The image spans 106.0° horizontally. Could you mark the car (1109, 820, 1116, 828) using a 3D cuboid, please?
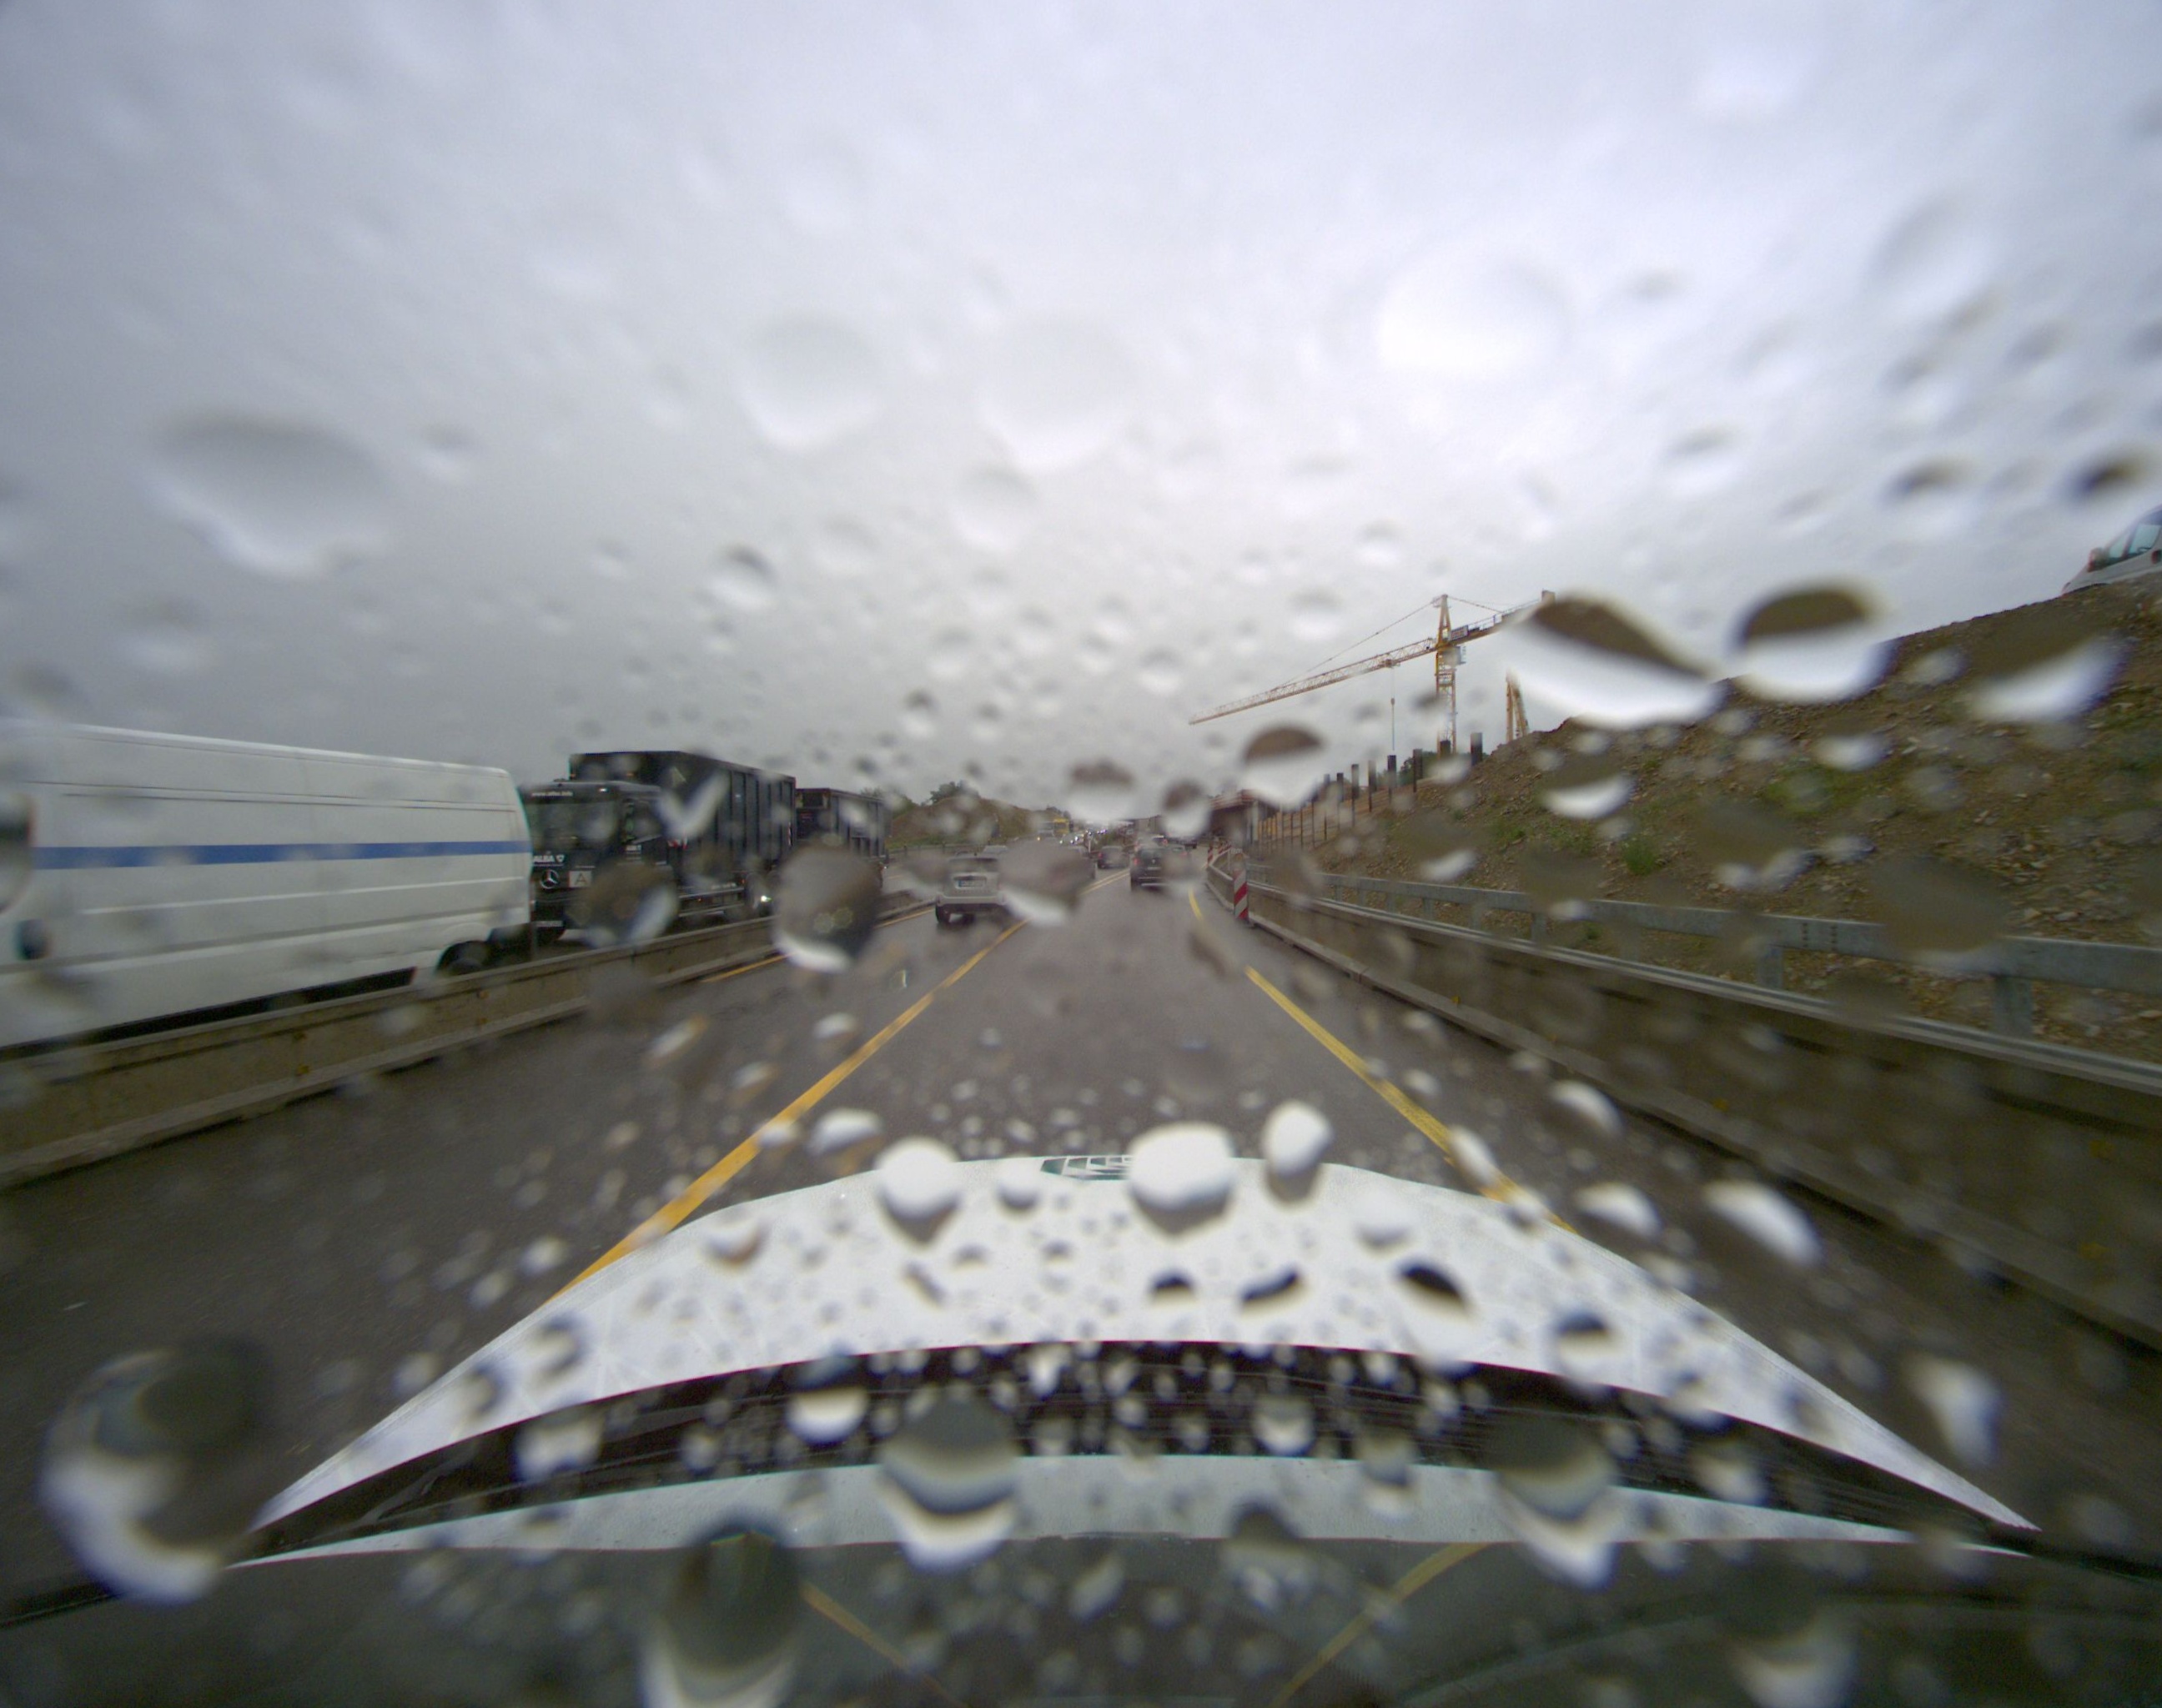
[{"bbox_3d":[9.316,-8.930,242.044,1.986,2.014,4.000,-1,-2,1],"label":"car"}]

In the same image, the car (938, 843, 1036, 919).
[{"bbox_3d":[-2.146,0.635,19.763,1.810,1.600,4.307,-1,-2,1],"label":"car"}]

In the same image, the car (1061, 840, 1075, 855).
[{"bbox_3d":[-1.730,-0.849,107.143,1.616,1.810,3.639,-1,-2,2],"label":"car"}]

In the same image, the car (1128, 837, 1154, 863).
[{"bbox_3d":[5.114,-0.300,70.213,1.987,2.014,3.893,-1,-2,1],"label":"car"}]

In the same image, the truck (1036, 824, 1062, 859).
[{"bbox_3d":[-4.650,-1.771,120.738,3.070,4.919,8.569,-1,0,3],"label":"truck"}]

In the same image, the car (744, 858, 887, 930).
[{"bbox_3d":[-6.207,0.866,19.650,1.862,1.471,4.670,-1,0,0],"label":"car"}]

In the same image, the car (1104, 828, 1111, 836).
[{"bbox_3d":[7.429,-6.171,227.968,1.986,2.014,4.000,-1,-2,1],"label":"car"}]

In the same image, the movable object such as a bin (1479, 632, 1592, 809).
[{"bbox_3d":[33.019,-9.227,59.922,4.682,10.844,10.345,-2,-2,16],"label":"movable object such as a bin"}]

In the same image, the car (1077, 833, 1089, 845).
[{"bbox_3d":[0.490,-3.118,166.972,2.229,2.359,4.880,-1,0,2],"label":"car"}]

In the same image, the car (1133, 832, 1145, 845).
[{"bbox_3d":[10.410,-2.788,146.699,1.987,2.163,4.140,-1,-2,0],"label":"car"}]

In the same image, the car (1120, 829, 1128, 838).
[{"bbox_3d":[10.793,-5.199,204.850,1.986,2.014,4.001,-2,0,1],"label":"car"}]

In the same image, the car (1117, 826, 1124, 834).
[{"bbox_3d":[11.245,-6.844,232.350,1.986,2.014,4.001,-2,0,1],"label":"car"}]

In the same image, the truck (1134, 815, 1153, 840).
[{"bbox_3d":[14.935,-6.394,196.616,3.790,5.043,12.921,-1,-2,1],"label":"truck"}]

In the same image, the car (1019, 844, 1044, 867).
[{"bbox_3d":[-4.317,0.149,71.688,1.779,1.810,4.500,-1,-2,2],"label":"car"}]

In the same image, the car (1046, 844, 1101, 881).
[{"bbox_3d":[-0.307,0.455,38.736,1.982,1.601,4.149,-1,-2,8],"label":"car"}]

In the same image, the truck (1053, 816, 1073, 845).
[{"bbox_3d":[-3.453,-4.434,156.340,3.129,5.418,8.528,-1,0,3],"label":"truck"}]

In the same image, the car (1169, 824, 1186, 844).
[{"bbox_3d":[13.586,-2.866,115.199,1.985,2.484,4.985,-1,-2,3],"label":"car"}]

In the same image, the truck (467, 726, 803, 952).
[{"bbox_3d":[-9.468,-0.297,19.036,2.632,3.970,9.213,-1,0,1],"label":"truck"}]

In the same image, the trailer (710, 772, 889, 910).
[{"bbox_3d":[-9.333,-0.394,28.514,2.737,3.970,9.674,-1,0,1],"label":"trailer"}]

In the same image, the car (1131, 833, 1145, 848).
[{"bbox_3d":[9.382,-2.180,134.210,1.983,2.163,4.147,-1,-2,7],"label":"car"}]

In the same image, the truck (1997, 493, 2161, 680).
[{"bbox_3d":[19.525,-4.869,12.677,2.636,2.555,6.984,-1,-2,1],"label":"truck"}]

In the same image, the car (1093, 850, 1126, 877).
[{"bbox_3d":[1.808,0.665,52.858,1.987,1.601,4.139,-1,-2,0],"label":"car"}]

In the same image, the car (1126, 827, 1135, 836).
[{"bbox_3d":[11.318,-5.170,186.518,1.842,1.894,4.023,-1,-2,2],"label":"car"}]

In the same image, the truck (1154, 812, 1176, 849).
[{"bbox_3d":[14.106,-3.847,136.212,3.083,5.427,9.465,-1,-2,9],"label":"truck"}]

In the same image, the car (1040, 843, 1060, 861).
[{"bbox_3d":[-3.293,-0.196,87.125,1.779,1.810,4.500,-1,-2,2],"label":"car"}]

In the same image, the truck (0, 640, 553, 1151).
[{"bbox_3d":[-6.781,0.241,5.704,2.140,2.713,6.016,-1,-1,1],"label":"truck"}]

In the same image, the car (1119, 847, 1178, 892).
[{"bbox_3d":[2.513,0.623,31.438,2.073,1.601,4.142,-1,-2,2],"label":"car"}]

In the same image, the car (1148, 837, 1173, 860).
[{"bbox_3d":[8.107,-0.537,83.109,1.980,2.163,4.154,-1,-2,13],"label":"car"}]

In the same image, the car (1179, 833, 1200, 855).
[{"bbox_3d":[12.099,-1.106,90.695,1.985,2.163,4.143,-1,-2,3],"label":"car"}]
